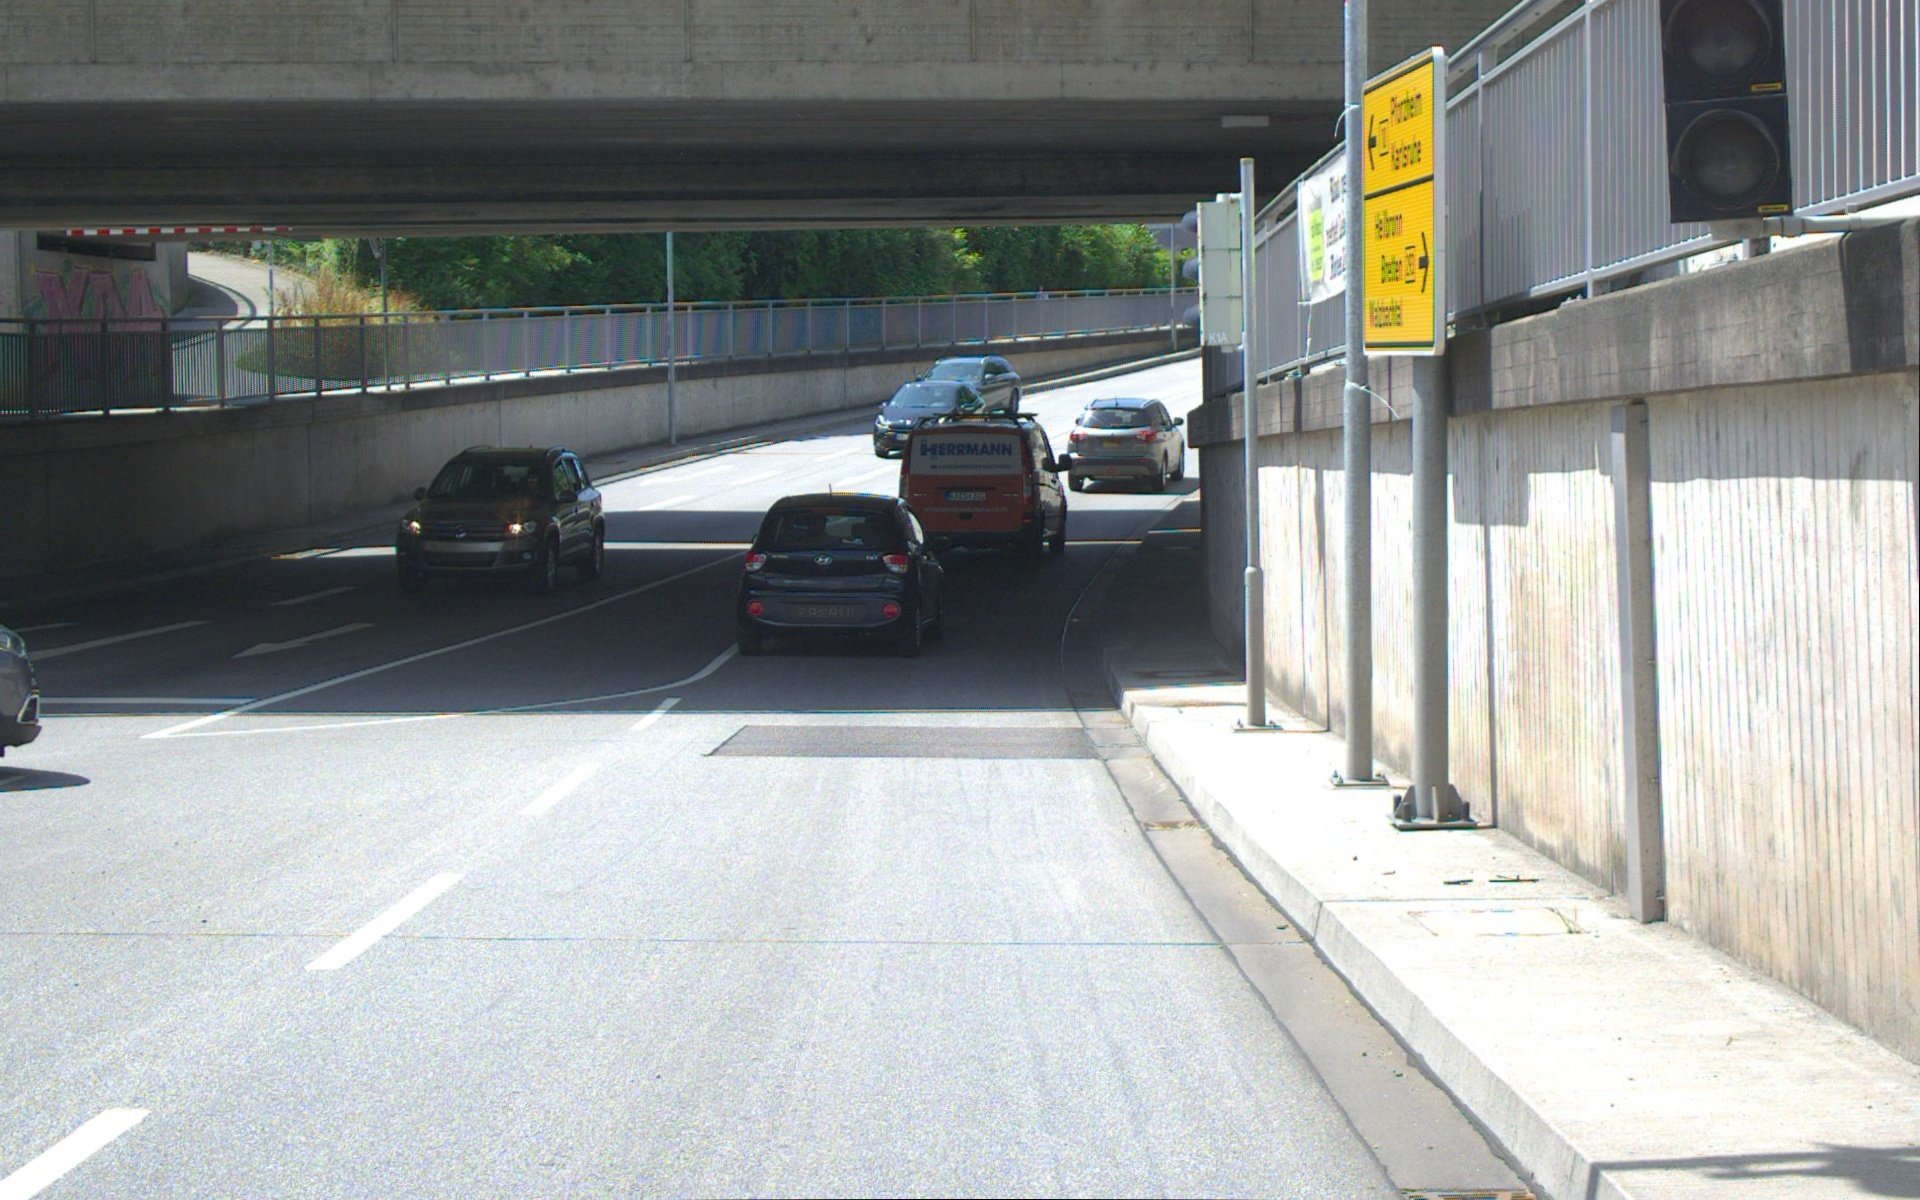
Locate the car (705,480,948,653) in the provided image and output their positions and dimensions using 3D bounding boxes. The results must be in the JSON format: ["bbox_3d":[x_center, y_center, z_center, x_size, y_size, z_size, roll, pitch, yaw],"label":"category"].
[{"bbox_3d":[-1.207,-0.371,32.878,1.994,1.502,4.000,0,3,3],"label":"car"}]

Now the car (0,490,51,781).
[{"bbox_3d":[-7.229,0.221,18.590,3.988,1.583,2.000,-3,4,-39],"label":"car"}]

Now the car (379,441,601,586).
[{"bbox_3d":[-5.619,-1.087,41.556,1.993,1.621,4.001,0,3,2],"label":"car"}]

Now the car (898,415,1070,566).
[{"bbox_3d":[0.381,-1.546,46.897,1.873,1.925,4.719,0,3,6],"label":"car"}]

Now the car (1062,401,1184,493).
[{"bbox_3d":[2.993,-2.799,62.464,1.805,1.612,3.999,1,3,9],"label":"car"}]

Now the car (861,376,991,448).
[{"bbox_3d":[-0.659,-3.875,70.860,1.783,1.431,3.998,1,3,13],"label":"car"}]
